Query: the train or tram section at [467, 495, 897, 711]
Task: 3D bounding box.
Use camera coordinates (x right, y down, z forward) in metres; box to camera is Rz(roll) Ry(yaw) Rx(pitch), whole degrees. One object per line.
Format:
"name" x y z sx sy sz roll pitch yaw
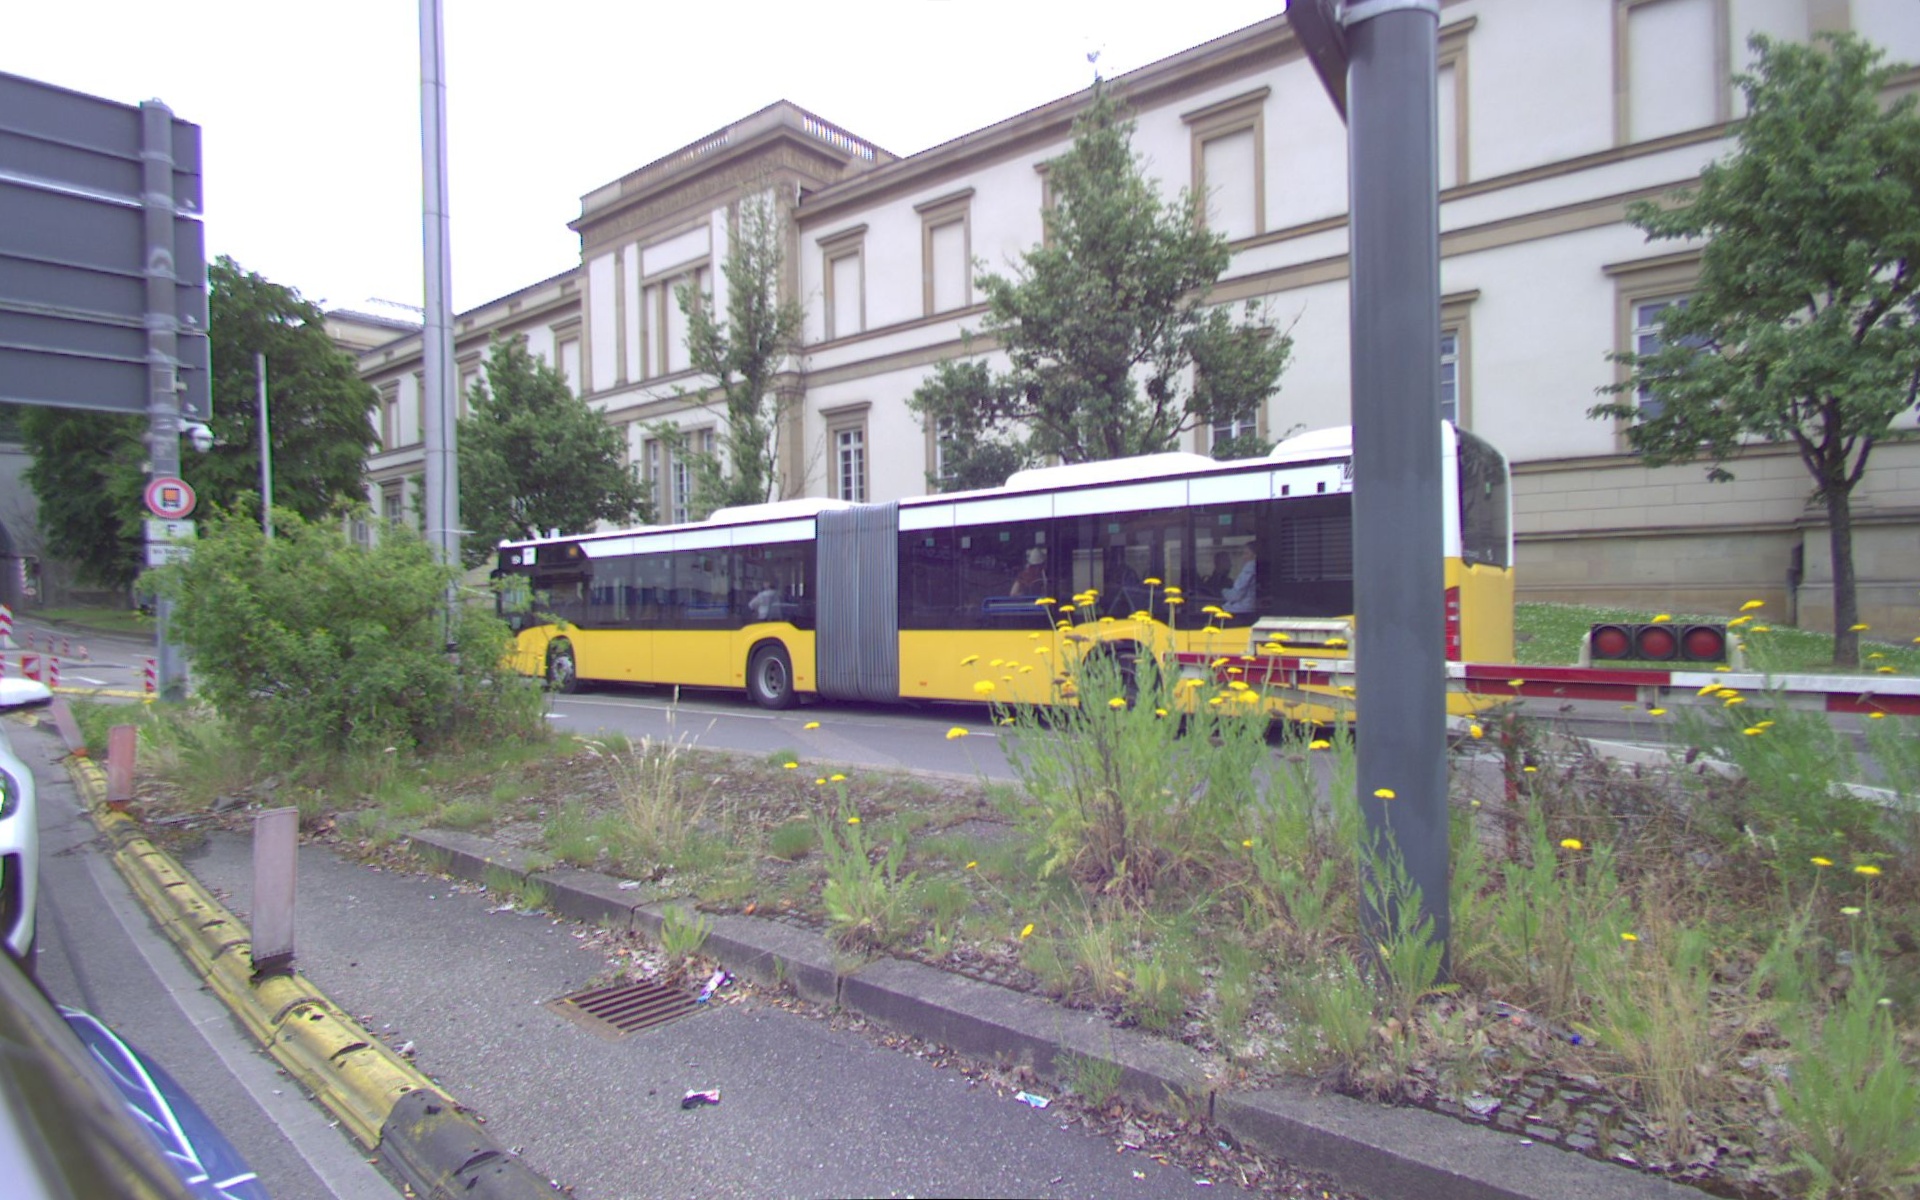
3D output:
"train or tram section" -5.493 0.156 18.525 9.366 3.094 2.667 -2 -2 39

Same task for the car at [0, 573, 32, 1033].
"car" -5.232 0.717 4.201 3.911 1.568 1.733 -1 0 43

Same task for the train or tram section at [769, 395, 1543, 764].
"train or tram section" 1.639 -0.066 12.533 9.330 3.094 2.666 -2 -2 41
